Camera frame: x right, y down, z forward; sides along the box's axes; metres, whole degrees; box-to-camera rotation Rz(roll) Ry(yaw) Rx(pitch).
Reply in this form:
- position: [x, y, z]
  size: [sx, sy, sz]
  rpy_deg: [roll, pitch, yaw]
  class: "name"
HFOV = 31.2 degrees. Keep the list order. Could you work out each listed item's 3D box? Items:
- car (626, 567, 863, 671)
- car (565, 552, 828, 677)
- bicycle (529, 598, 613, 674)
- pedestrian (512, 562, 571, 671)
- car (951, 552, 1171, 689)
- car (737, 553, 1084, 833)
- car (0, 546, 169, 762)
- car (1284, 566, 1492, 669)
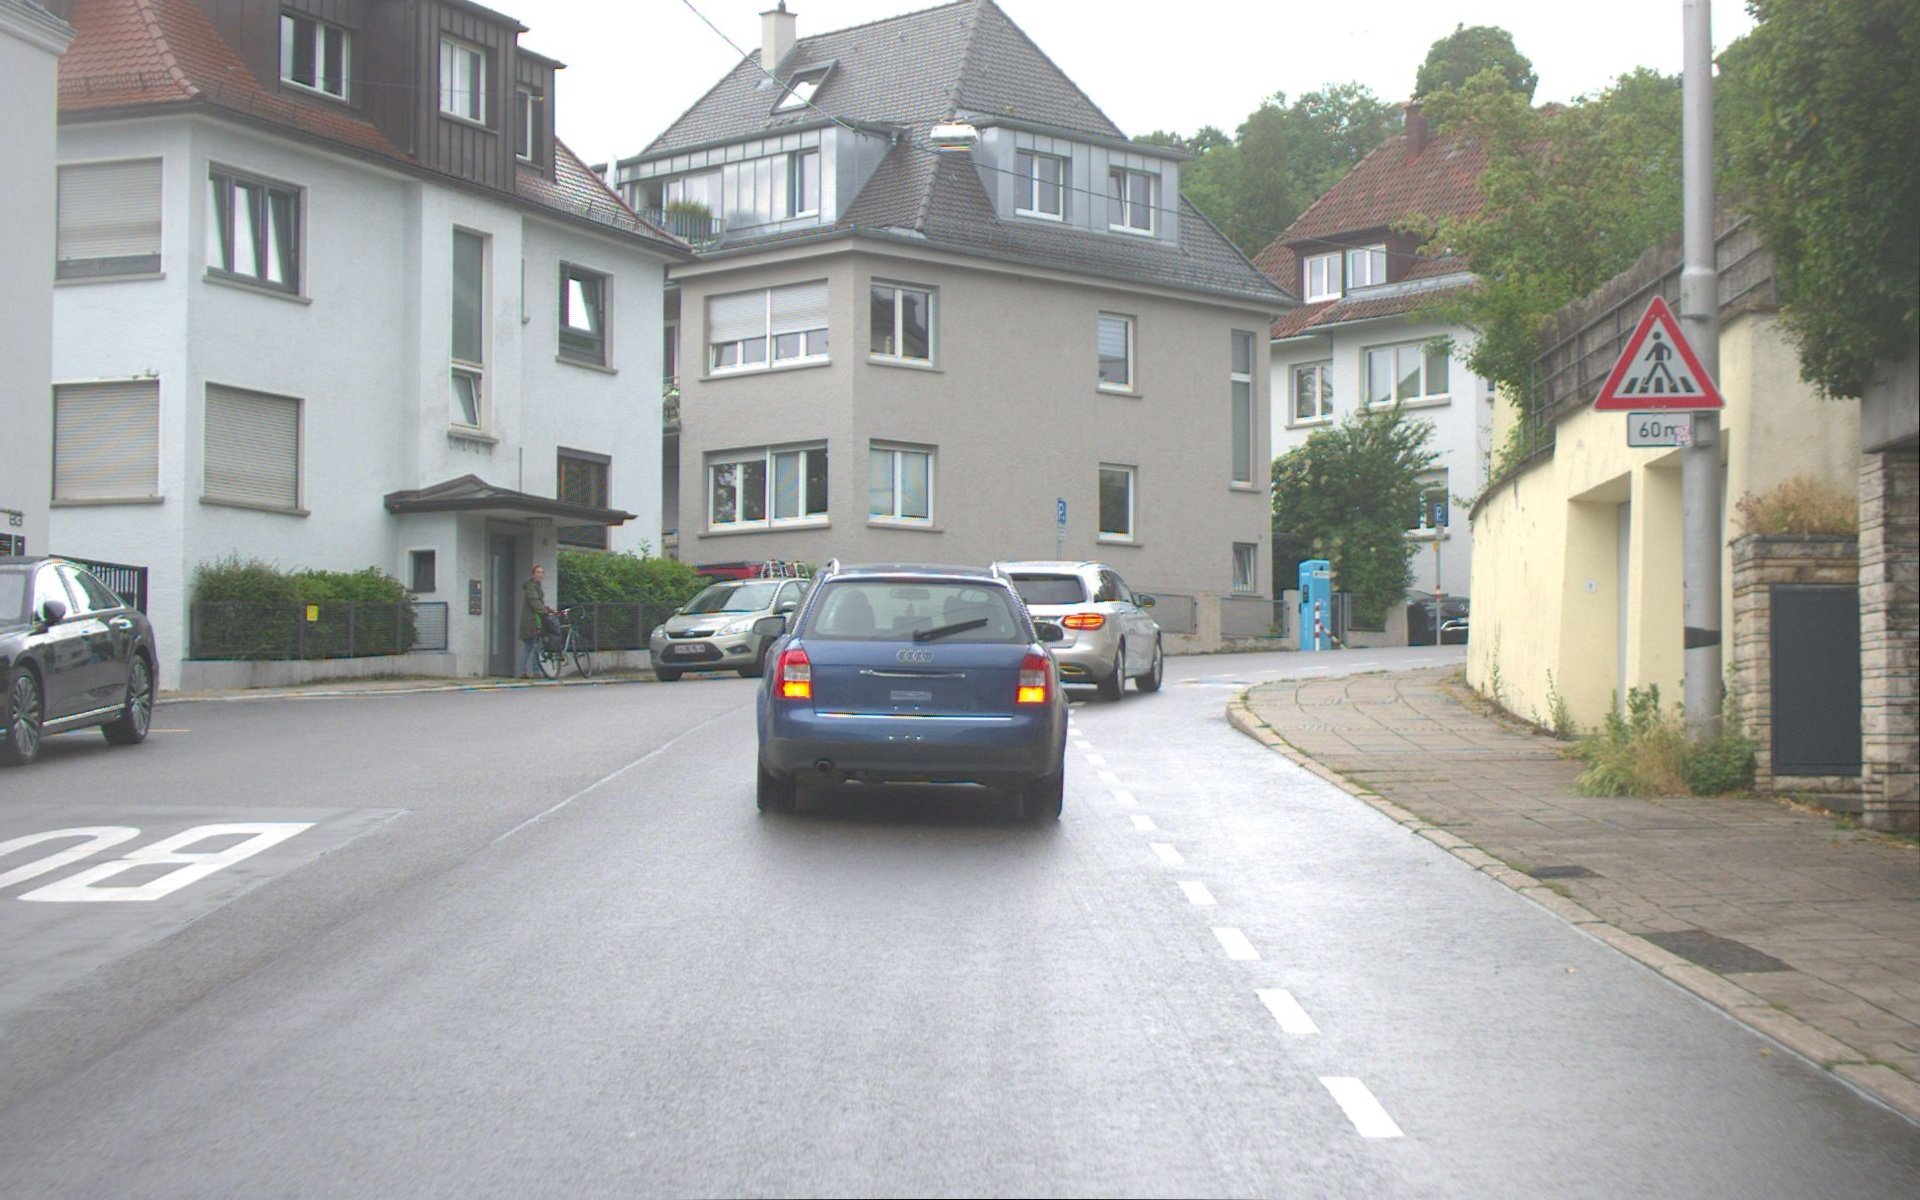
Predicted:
- position: [-3.136, 0.260, 50.946]
  size: [1.838, 1.420, 4.225]
  rpy_deg: [-2, 0, 22]
  class: "car"
- position: [-4.596, 0.251, 59.872]
  size: [3.993, 1.817, 1.997]
  rpy_deg: [-5, -2, 28]
  class: "car"
- position: [-5.657, 0.516, 50.086]
  size: [0.456, 1.063, 1.920]
  rpy_deg: [0, 0, 18]
  class: "bicycle"
- position: [-6.111, 0.236, 50.246]
  size: [0.493, 1.572, 0.947]
  rpy_deg: [0, 0, 18]
  class: "pedestrian"
- position: [1.149, 0.245, 37.110]
  size: [1.812, 1.356, 3.998]
  rpy_deg: [2, -1, 9]
  class: "car"
- position: [-0.252, 0.470, 20.409]
  size: [1.811, 1.434, 4.081]
  rpy_deg: [2, 1, 0]
  class: "car"
- position: [-7.453, 0.379, 25.725]
  size: [1.829, 1.481, 4.991]
  rpy_deg: [-1, 0, 1]
  class: "car"
- position: [9.262, 0.395, 74.669]
  size: [1.994, 1.618, 4.252]
  rpy_deg: [-1, -8, -36]
  class: "car"
